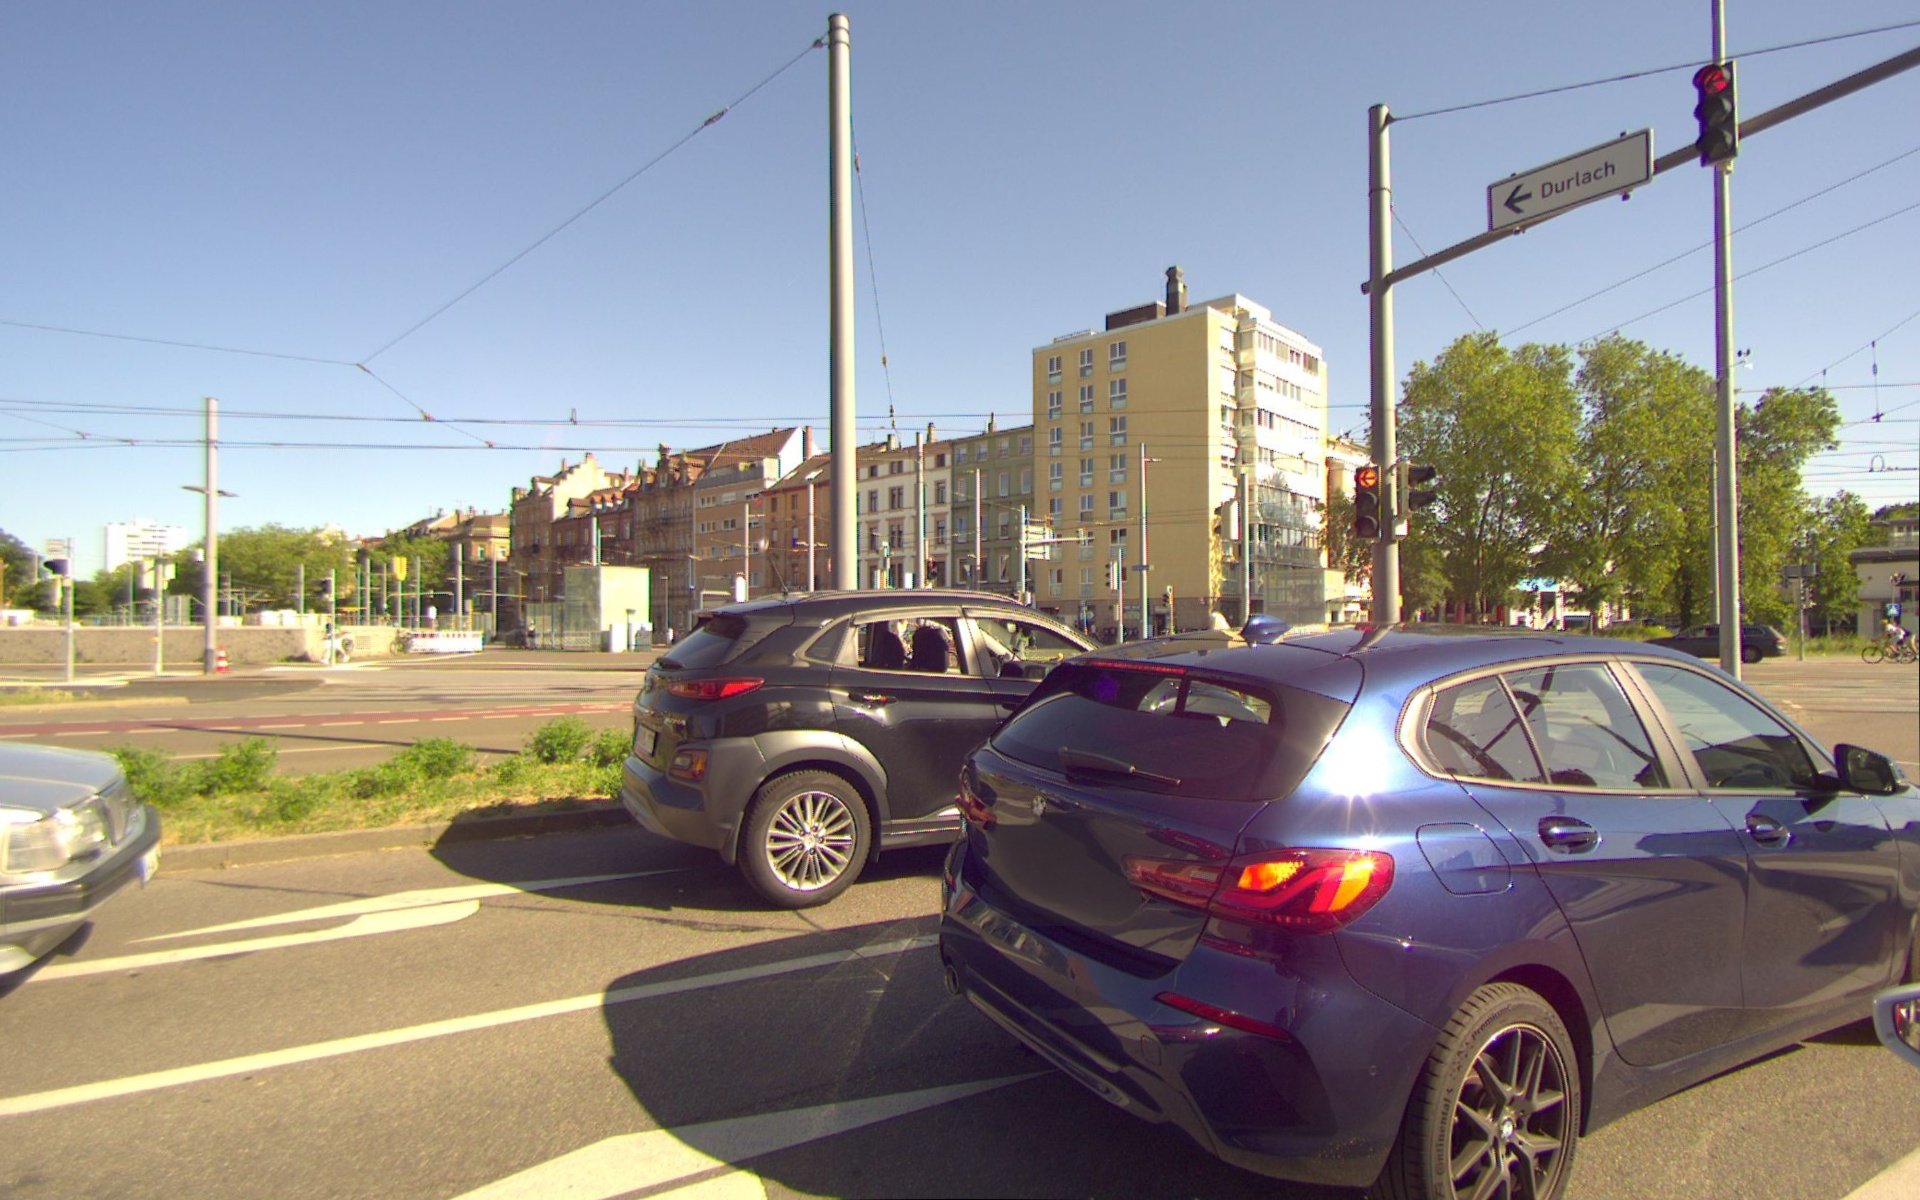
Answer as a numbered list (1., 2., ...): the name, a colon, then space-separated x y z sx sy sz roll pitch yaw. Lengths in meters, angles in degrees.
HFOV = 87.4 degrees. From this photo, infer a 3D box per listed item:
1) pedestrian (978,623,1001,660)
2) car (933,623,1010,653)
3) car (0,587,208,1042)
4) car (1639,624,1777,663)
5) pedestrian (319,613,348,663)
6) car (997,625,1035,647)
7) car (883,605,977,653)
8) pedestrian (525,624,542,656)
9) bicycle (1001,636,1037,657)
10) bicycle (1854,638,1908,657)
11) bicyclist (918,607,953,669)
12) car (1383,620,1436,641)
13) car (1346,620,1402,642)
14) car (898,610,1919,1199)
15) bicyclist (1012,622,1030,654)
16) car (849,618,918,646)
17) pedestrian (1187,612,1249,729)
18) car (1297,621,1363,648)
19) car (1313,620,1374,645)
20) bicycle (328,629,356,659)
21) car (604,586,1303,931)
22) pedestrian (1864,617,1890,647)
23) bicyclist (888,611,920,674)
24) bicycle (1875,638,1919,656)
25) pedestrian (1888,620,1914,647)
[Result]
1. pedestrian: 1.278 1.777 43.499 0.739 1.593 0.670 -1 -1 41
2. car: 0.618 2.149 57.436 4.247 1.675 1.848 -1 -2 42
3. car: -5.198 0.672 2.917 4.703 1.492 1.698 1 -1 -34
4. car: 29.002 1.640 39.011 4.163 1.419 1.849 -1 -2 42
5. pedestrian: -23.696 1.424 38.013 0.872 1.879 0.683 1 -1 -30
6. car: 3.742 2.403 68.130 1.745 1.446 3.873 0 -1 -10
7. car: -1.712 1.584 55.890 5.341 2.541 1.989 -1 -2 42
8. pedestrian: -23.359 2.158 54.982 0.672 1.735 0.793 1 -1 -38
9. bicycle: 2.789 2.202 47.356 1.666 0.958 0.614 1 -1 -30
10. bicycle: 37.978 1.953 41.455 1.609 0.769 0.422 -1 -2 38
11. bicyclist: -0.686 1.049 27.962 0.672 1.676 0.777 1 -1 -35
12. car: 37.278 2.528 83.328 3.691 1.684 1.586 -1 -2 42
13. car: 32.263 2.409 78.324 3.691 1.684 1.586 -1 -2 42
14. car: 1.939 0.809 3.607 3.983 1.464 1.703 1 0 -30
15. bicyclist: 2.877 1.795 47.421 0.609 1.462 0.614 1 -1 -30
16. car: -4.837 1.998 63.237 4.244 1.675 1.849 -1 -2 41
17. pedestrian: 3.544 0.962 13.805 0.747 1.575 0.357 0 -1 -11
18. car: 23.893 2.202 64.866 3.691 1.684 1.586 -1 -2 42
19. car: 26.744 2.274 70.042 3.691 1.684 1.586 -1 -2 42
20. bicycle: -24.911 1.765 40.505 0.461 1.189 1.252 0 -1 -6
21. car: 0.009 0.736 6.183 3.959 1.537 1.751 1 -1 -28
22. pedestrian: 37.904 1.328 41.526 0.738 1.220 0.422 -1 -1 38
23. bicyclist: -1.531 1.140 27.336 0.668 1.676 0.781 0 -1 -20
24. bicycle: 39.415 1.980 42.060 1.611 0.727 0.422 -1 -2 41
25. pedestrian: 39.408 1.393 42.072 0.739 1.142 0.422 -1 -1 41
